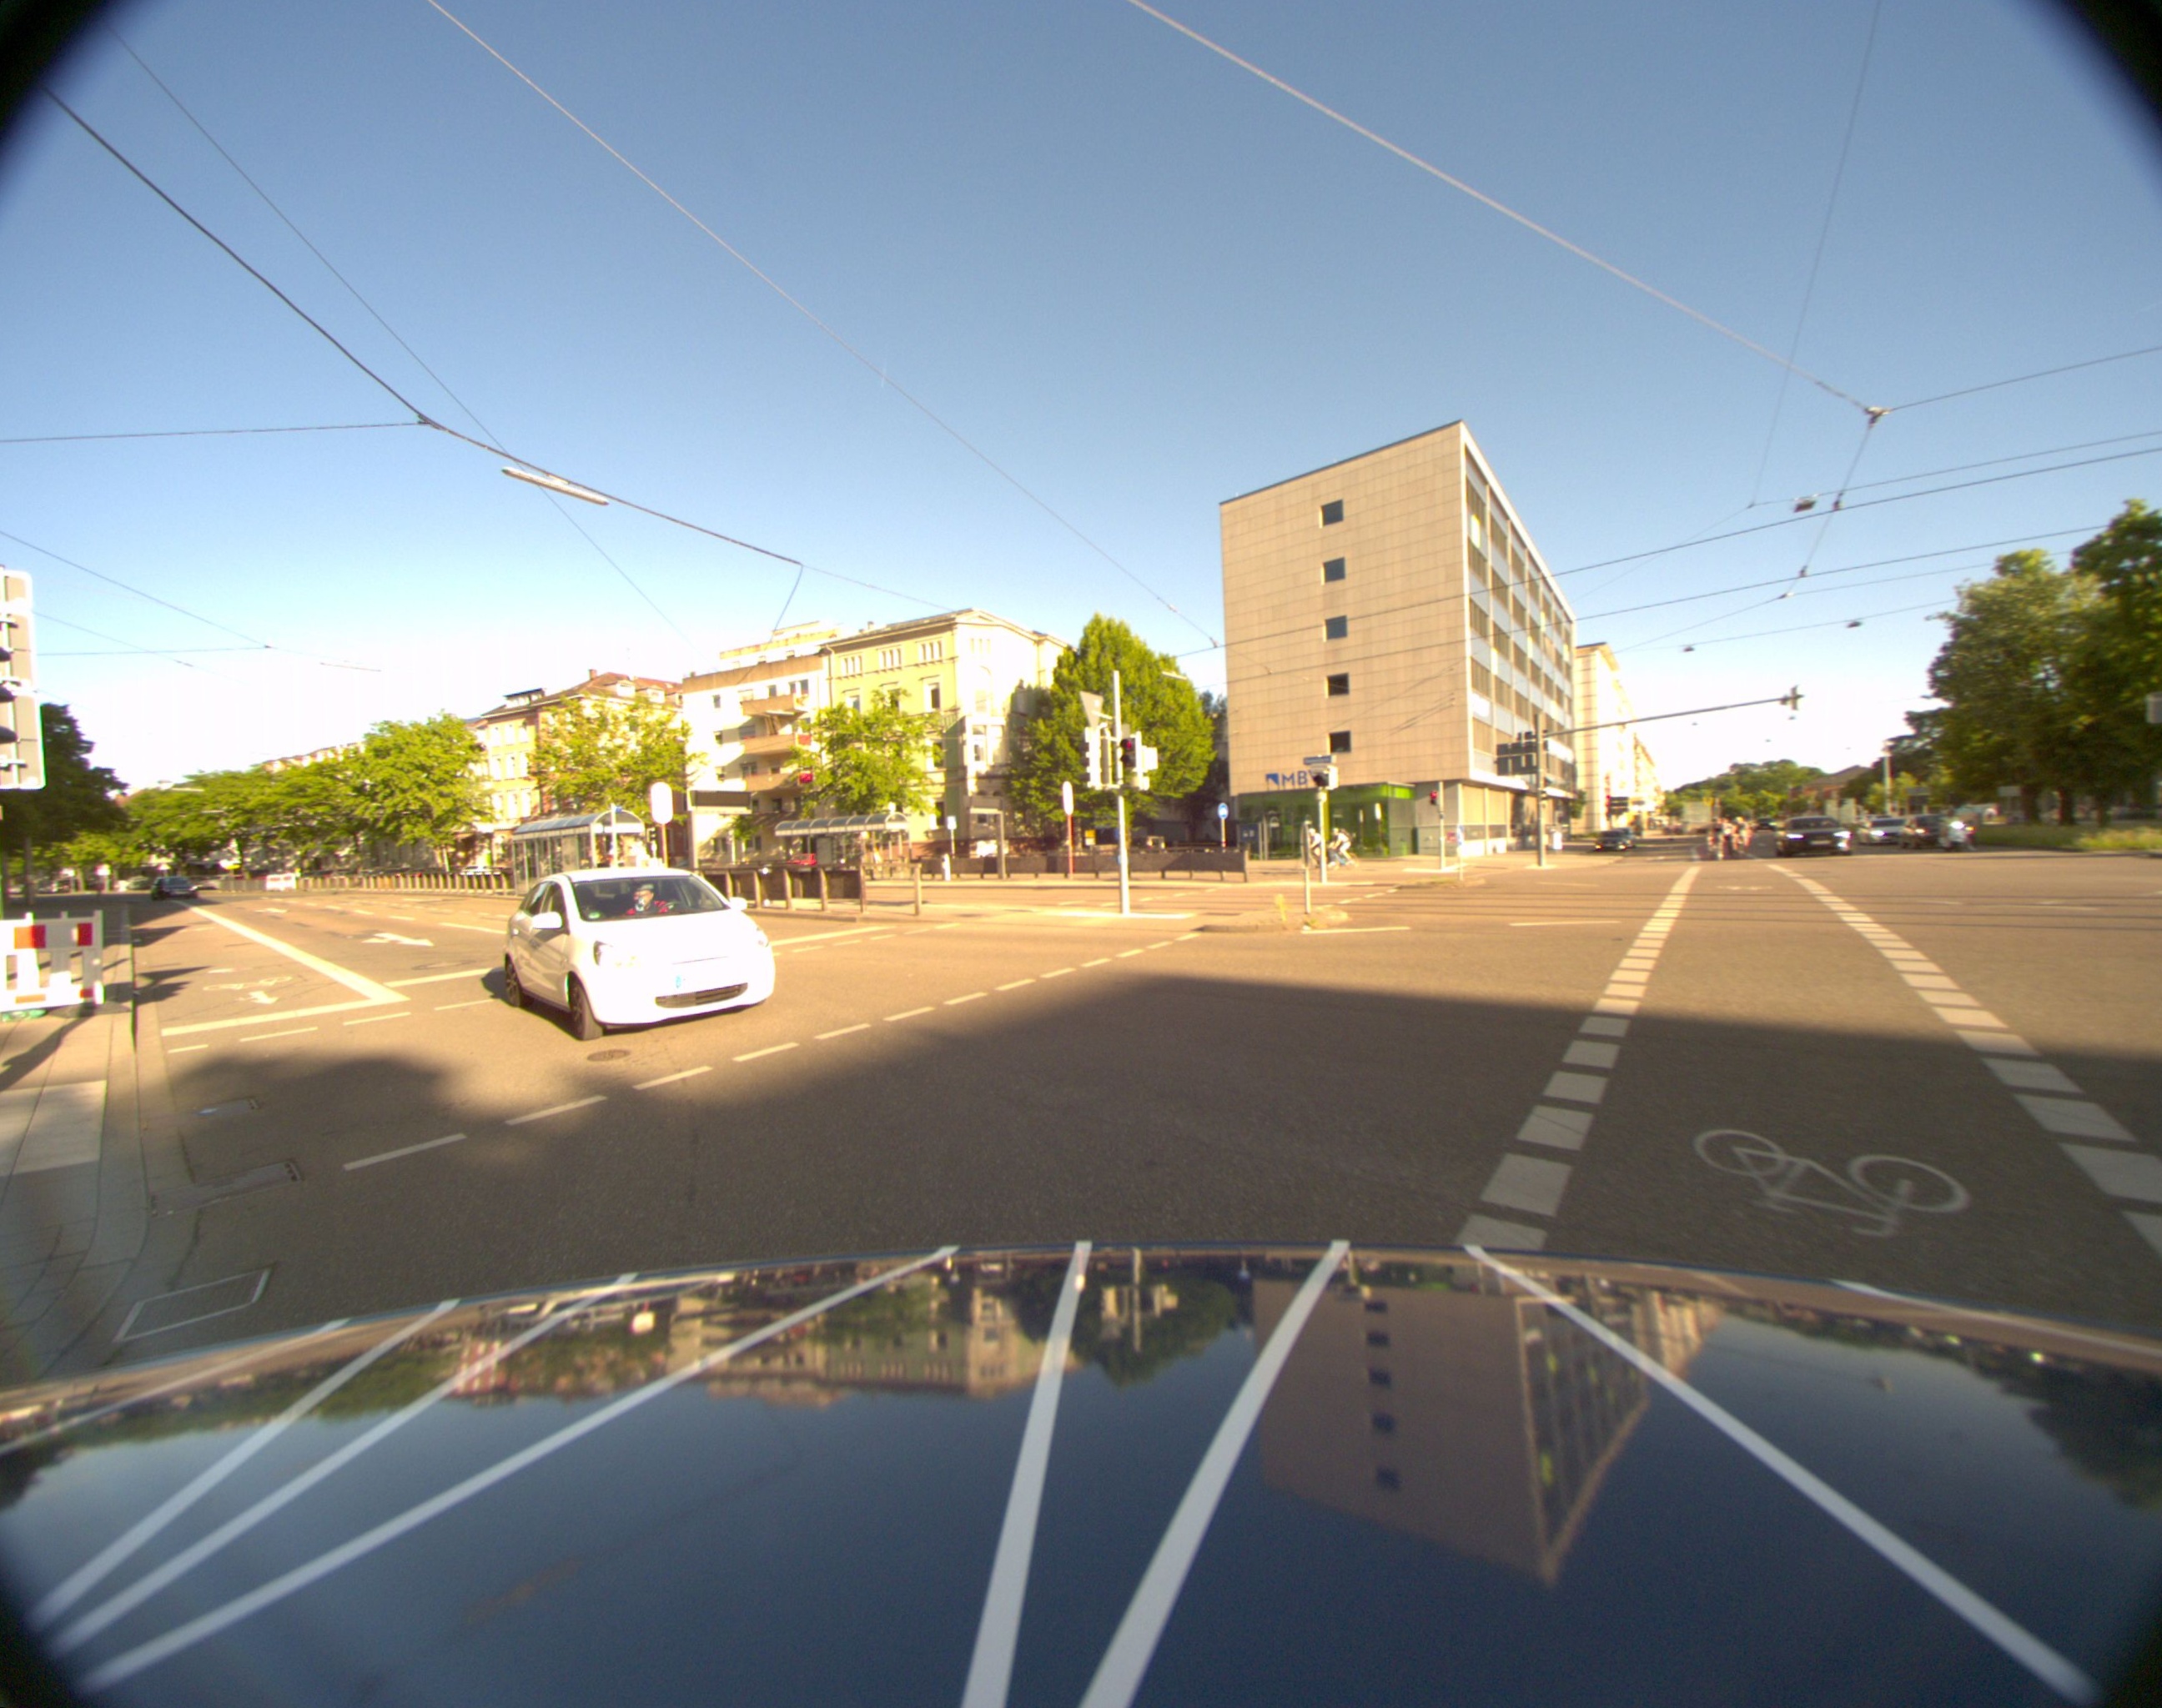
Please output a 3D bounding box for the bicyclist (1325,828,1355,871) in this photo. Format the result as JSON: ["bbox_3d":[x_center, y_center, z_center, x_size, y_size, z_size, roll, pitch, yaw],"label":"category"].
[{"bbox_3d":[10.600,-0.208,31.157,0.946,1.682,0.763,-2,5,-4],"label":"bicyclist"}]

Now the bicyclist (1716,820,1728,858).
[{"bbox_3d":[26.722,-0.619,31.694,0.357,1.567,0.536,-1,2,39],"label":"bicyclist"}]

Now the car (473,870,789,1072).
[{"bbox_3d":[-4.802,0.971,7.900,3.754,1.456,1.682,0,4,42],"label":"car"}]

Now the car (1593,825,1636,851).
[{"bbox_3d":[35.974,-1.104,51.172,1.994,1.564,4.558,-1,1,39],"label":"car"}]

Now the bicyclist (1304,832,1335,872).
[{"bbox_3d":[9.303,-0.085,29.672,0.907,1.499,0.888,-2,5,-4],"label":"bicyclist"}]

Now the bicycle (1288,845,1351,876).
[{"bbox_3d":[9.312,0.245,29.697,2.182,1.062,0.883,-2,4,-4],"label":"bicycle"}]

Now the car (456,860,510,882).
[{"bbox_3d":[-52.294,1.445,66.547,1.740,1.576,3.996,-3,3,-5],"label":"car"}]

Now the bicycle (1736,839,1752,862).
[{"bbox_3d":[27.419,-0.150,31.426,0.451,0.869,1.387,-1,2,39],"label":"bicycle"}]

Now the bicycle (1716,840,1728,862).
[{"bbox_3d":[26.740,-0.133,31.709,0.351,0.869,1.387,-1,2,39],"label":"bicycle"}]

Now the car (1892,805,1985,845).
[{"bbox_3d":[37.312,-1.250,33.184,1.994,1.564,4.558,-1,1,39],"label":"car"}]

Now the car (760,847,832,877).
[{"bbox_3d":[-17.420,0.464,46.596,1.736,1.576,4.005,-1,3,25],"label":"car"}]

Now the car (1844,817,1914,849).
[{"bbox_3d":[42.366,-1.146,40.444,1.994,1.564,4.558,-1,1,39],"label":"car"}]

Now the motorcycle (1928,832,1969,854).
[{"bbox_3d":[32.930,-0.433,28.848,0.622,0.791,1.311,-1,1,30],"label":"motorcycle"}]

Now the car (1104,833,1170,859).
[{"bbox_3d":[3.758,-0.519,51.108,3.989,1.576,1.743,-1,3,34],"label":"car"}]

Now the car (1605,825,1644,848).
[{"bbox_3d":[39.941,-1.287,55.775,1.994,1.564,4.558,-1,1,39],"label":"car"}]

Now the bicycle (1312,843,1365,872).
[{"bbox_3d":[10.552,0.129,31.185,1.906,1.062,0.754,-2,4,-4],"label":"bicycle"}]

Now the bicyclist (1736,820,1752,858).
[{"bbox_3d":[27.364,-0.615,31.362,0.453,1.567,0.536,-1,2,39],"label":"bicyclist"}]

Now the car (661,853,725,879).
[{"bbox_3d":[-26.533,0.831,52.001,3.990,1.576,1.743,-1,3,26],"label":"car"}]

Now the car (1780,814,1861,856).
[{"bbox_3d":[30.170,-0.784,31.143,1.994,1.564,4.558,-1,1,39],"label":"car"}]

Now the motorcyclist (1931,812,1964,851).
[{"bbox_3d":[32.981,-0.865,28.931,0.605,1.438,0.737,-1,2,29],"label":"motorcyclist"}]

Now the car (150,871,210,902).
[{"bbox_3d":[-62.363,2.220,52.615,3.697,2.002,1.762,-2,1,26],"label":"car"}]
